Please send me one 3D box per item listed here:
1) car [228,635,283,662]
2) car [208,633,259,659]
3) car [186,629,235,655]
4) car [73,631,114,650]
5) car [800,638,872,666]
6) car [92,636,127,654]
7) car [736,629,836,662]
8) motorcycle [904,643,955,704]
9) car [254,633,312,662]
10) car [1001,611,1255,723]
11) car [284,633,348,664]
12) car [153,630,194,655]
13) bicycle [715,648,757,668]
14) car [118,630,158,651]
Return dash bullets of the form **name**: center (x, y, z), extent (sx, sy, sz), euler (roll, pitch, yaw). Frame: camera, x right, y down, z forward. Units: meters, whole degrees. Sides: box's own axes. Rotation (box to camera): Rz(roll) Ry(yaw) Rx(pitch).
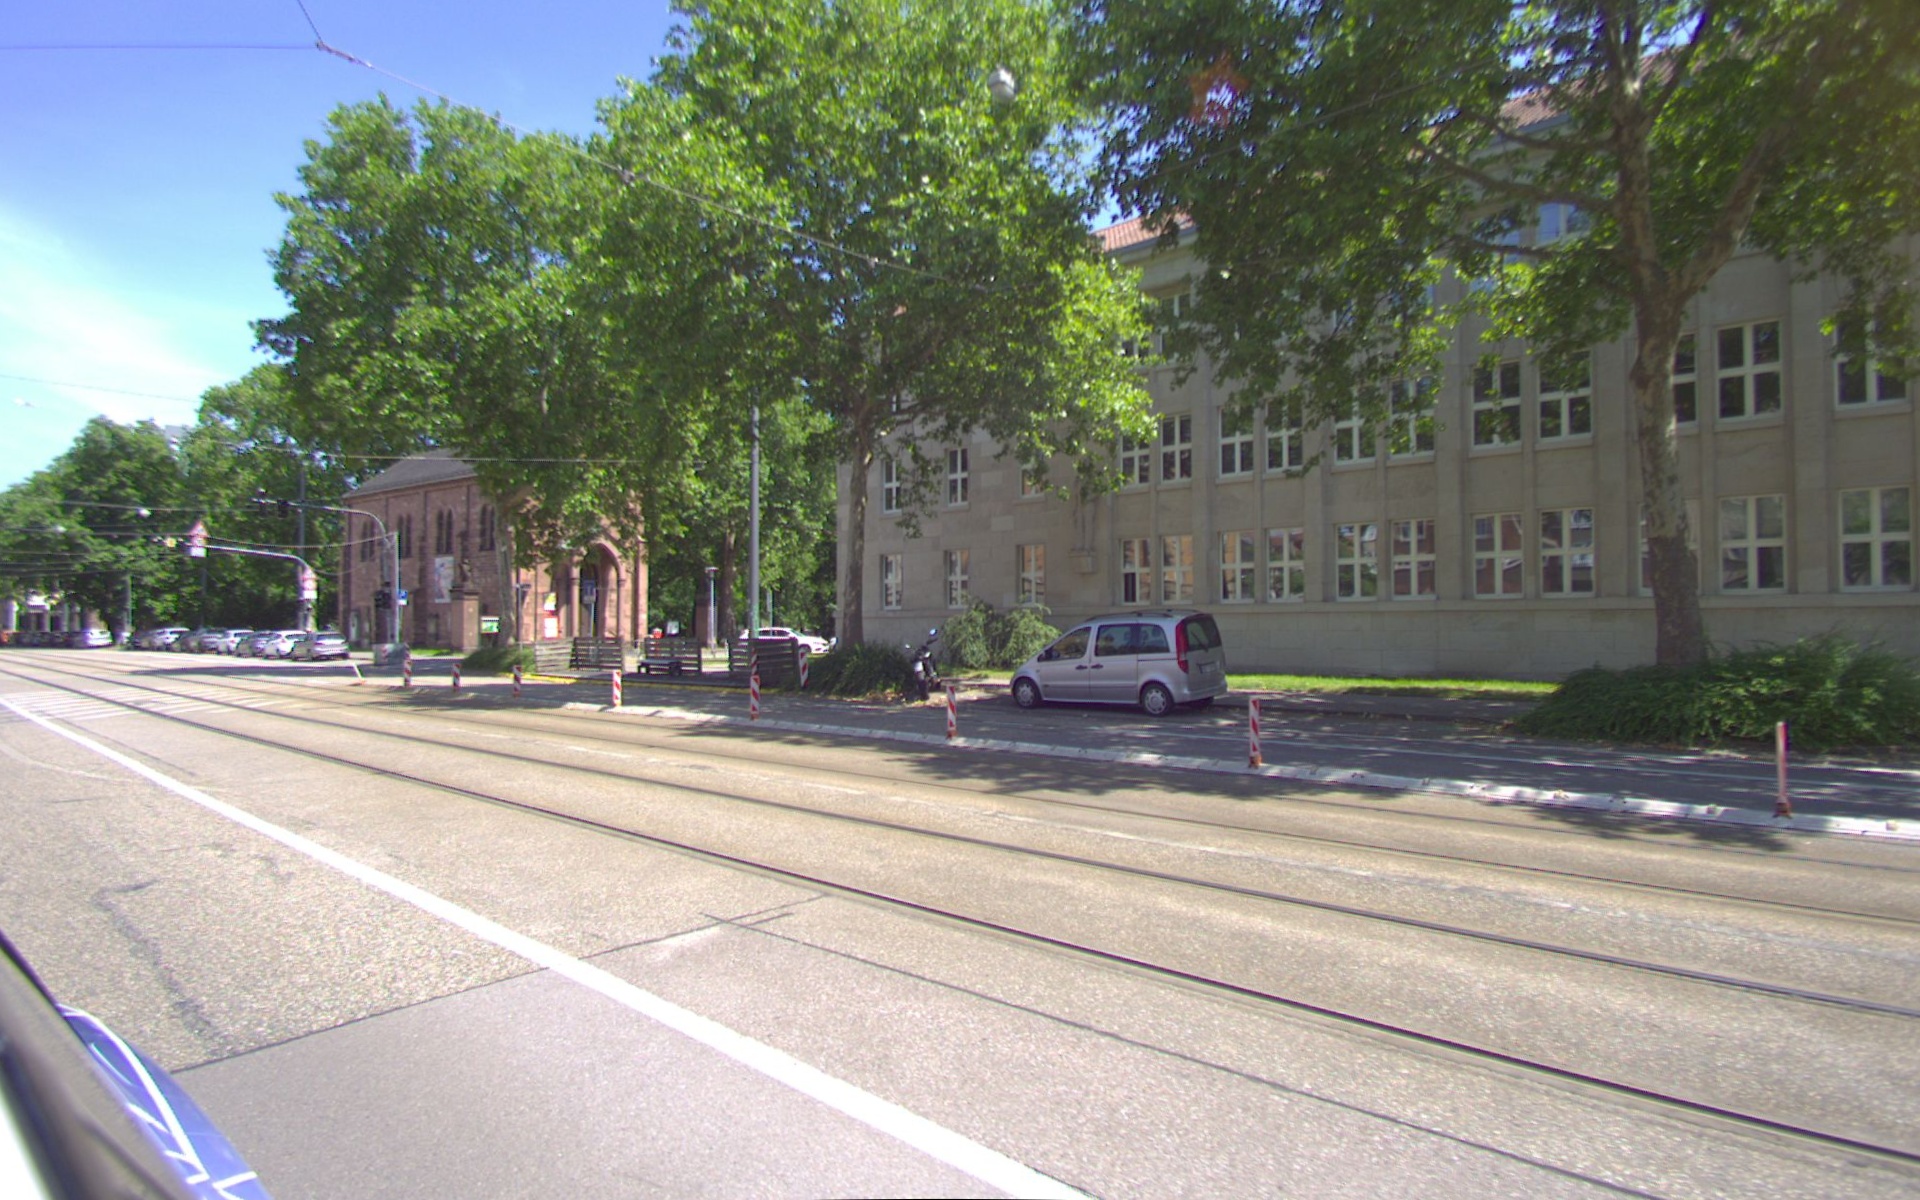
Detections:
- **car**: center (-40.275, 2.743, 57.794), extent (4.056, 1.470, 1.641), euler (-2, -2, 41)
- **car**: center (-43.916, 2.772, 61.153), extent (3.751, 1.470, 1.725), euler (-2, -2, 41)
- **car**: center (-47.893, 2.665, 64.666), extent (3.751, 1.535, 1.725), euler (-2, -2, 41)
- **car**: center (-73.700, 3.433, 86.095), extent (3.995, 1.575, 1.953), euler (-2, -1, 39)
- **car**: center (-6.731, 2.817, 54.919), extent (3.555, 1.387, 1.715), euler (-1, -1, 10)
- **car**: center (-68.807, 3.632, 81.865), extent (3.763, 1.390, 1.629), euler (-2, -2, 41)
- **car**: center (-8.562, 2.254, 49.979), extent (4.481, 1.520, 1.911), euler (-1, -1, 7)
- **motorcycle**: center (-0.650, 1.578, 22.173), extent (0.719, 1.076, 1.866), euler (-1, 4, 11)
- **car**: center (-36.394, 2.515, 54.377), extent (4.057, 1.470, 1.640), euler (-2, -2, 42)
- **car**: center (3.044, 1.169, 18.890), extent (4.301, 1.824, 1.971), euler (-2, -2, 44)
- **car**: center (-32.634, 2.419, 51.245), extent (4.219, 1.470, 1.640), euler (-2, -2, 42)
- **car**: center (-55.896, 3.002, 71.883), extent (3.905, 1.665, 1.724), euler (-2, -2, 43)
- **bicycle**: center (-10.620, 2.741, 48.005), extent (1.895, 0.907, 0.639), euler (-1, -1, 22)
- **car**: center (-64.195, 3.163, 79.045), extent (4.185, 1.509, 1.725), euler (-2, -2, 41)
